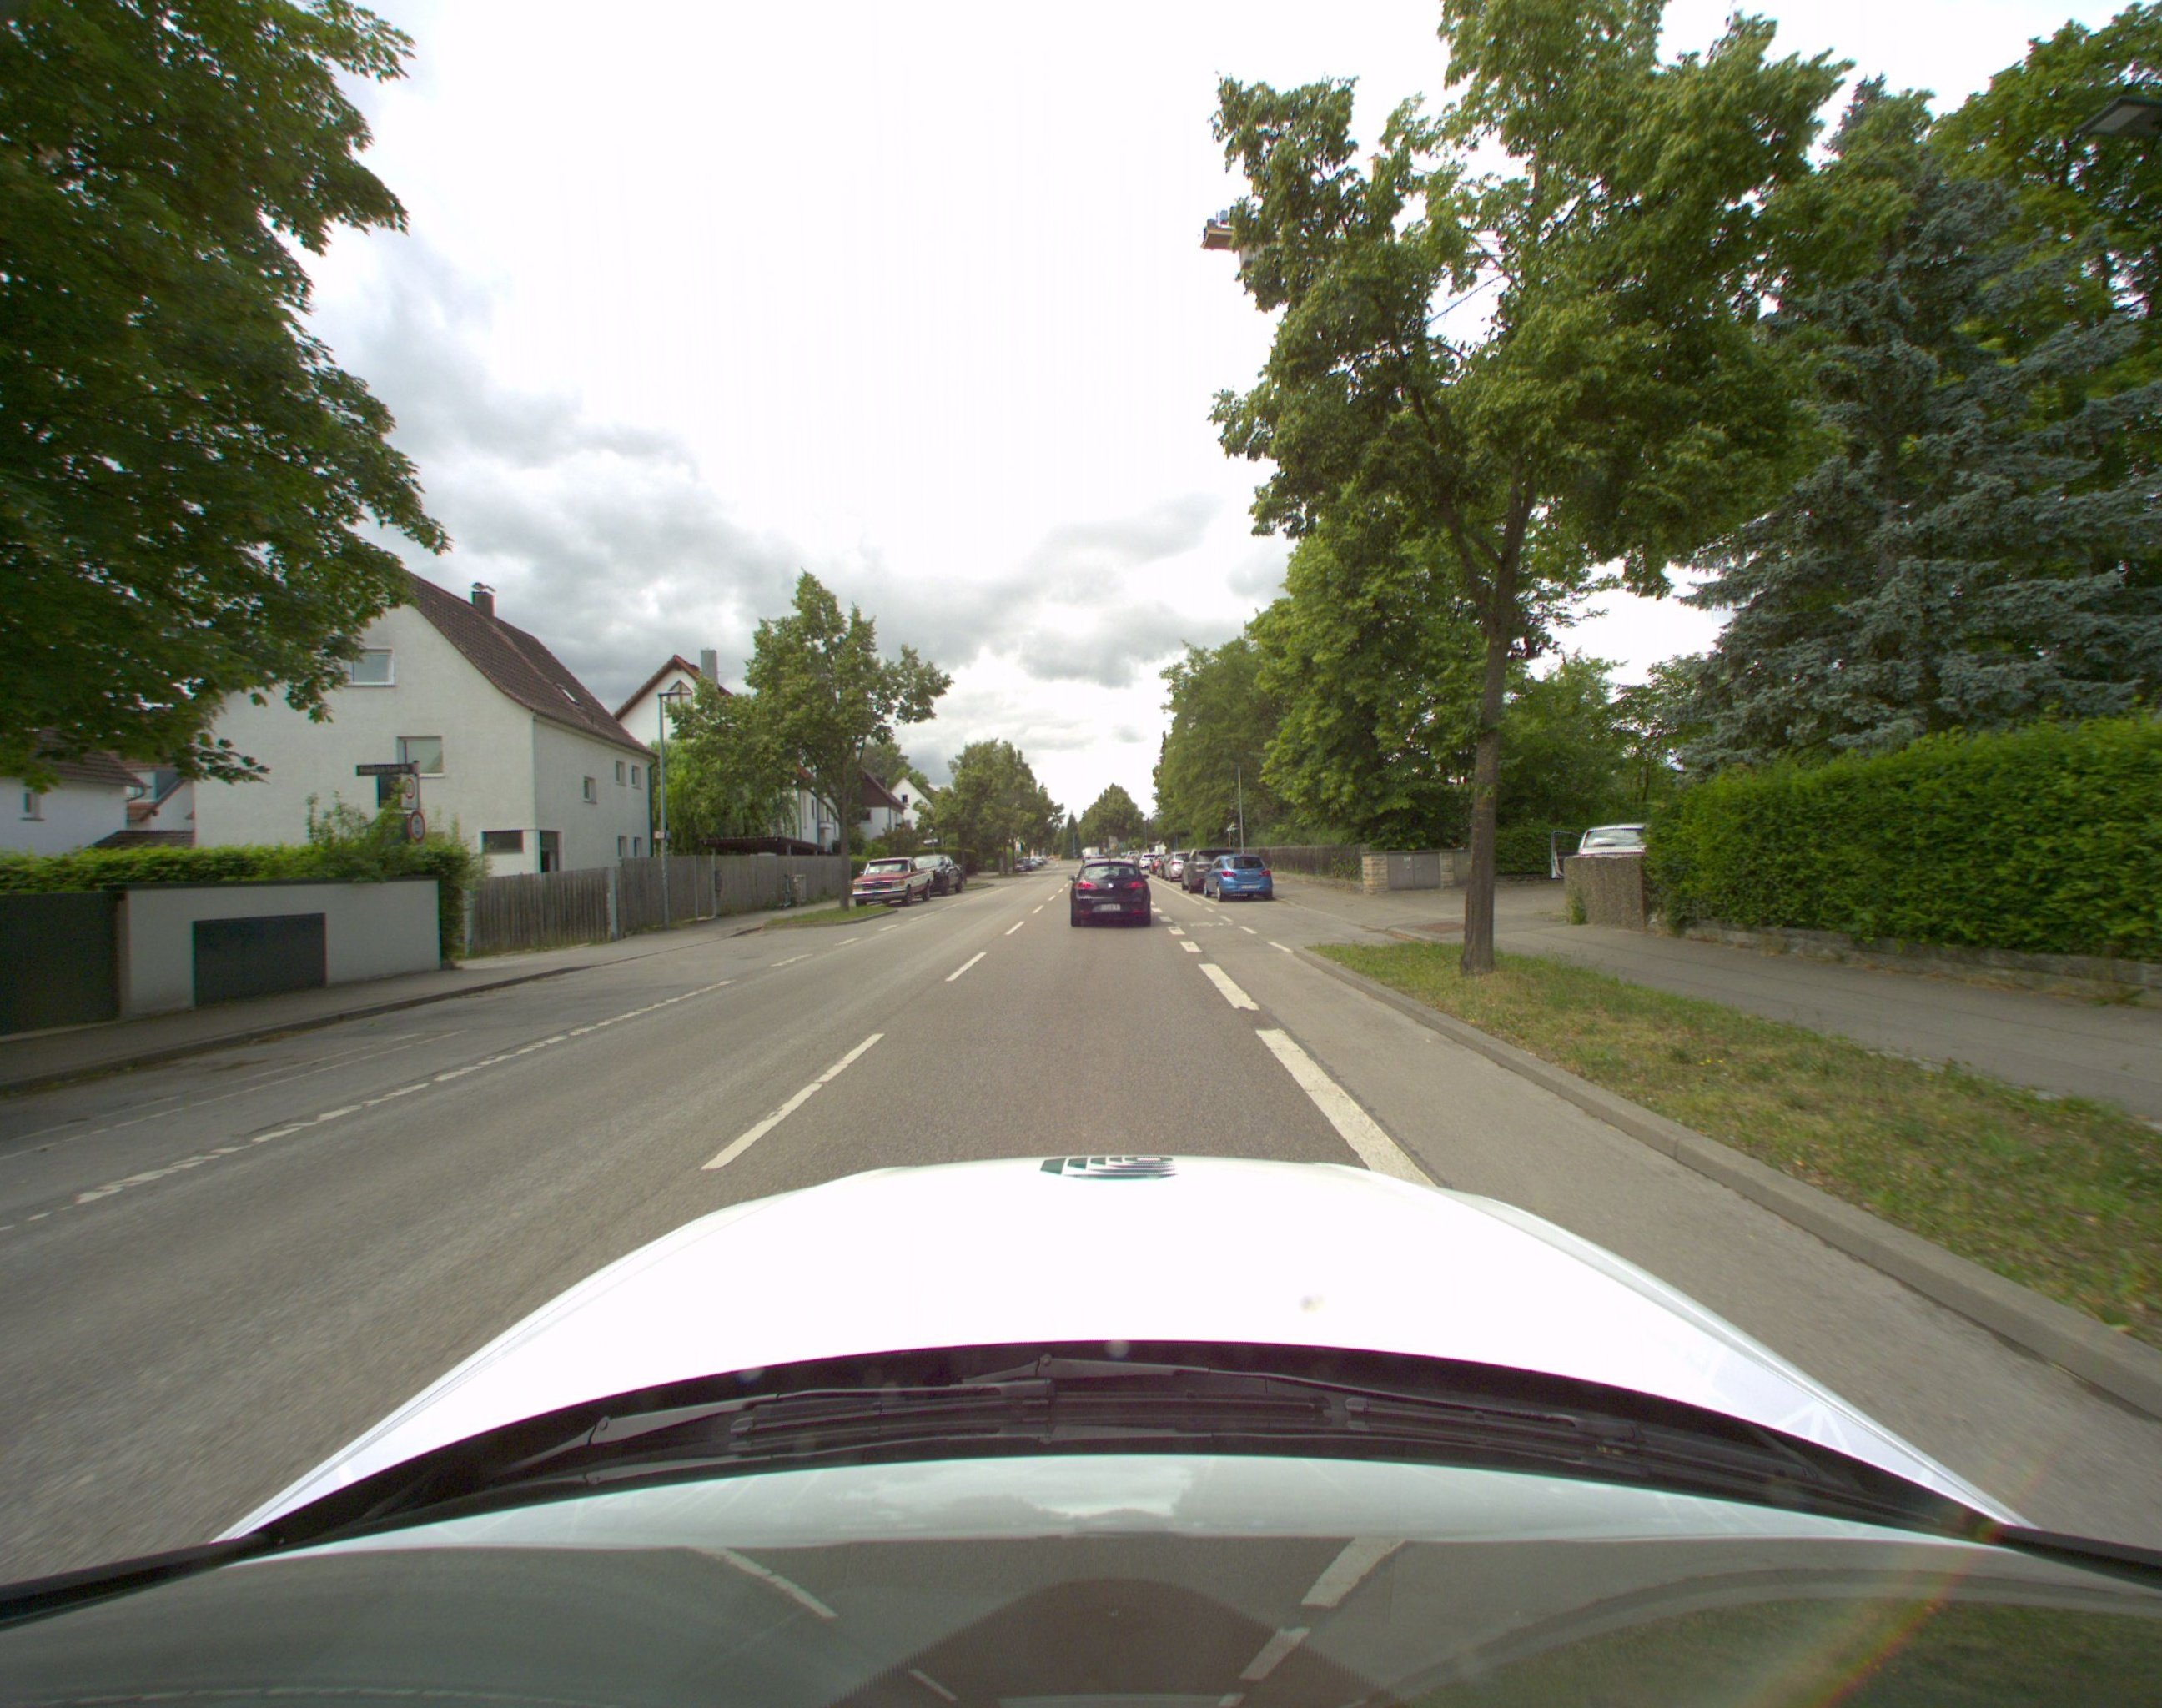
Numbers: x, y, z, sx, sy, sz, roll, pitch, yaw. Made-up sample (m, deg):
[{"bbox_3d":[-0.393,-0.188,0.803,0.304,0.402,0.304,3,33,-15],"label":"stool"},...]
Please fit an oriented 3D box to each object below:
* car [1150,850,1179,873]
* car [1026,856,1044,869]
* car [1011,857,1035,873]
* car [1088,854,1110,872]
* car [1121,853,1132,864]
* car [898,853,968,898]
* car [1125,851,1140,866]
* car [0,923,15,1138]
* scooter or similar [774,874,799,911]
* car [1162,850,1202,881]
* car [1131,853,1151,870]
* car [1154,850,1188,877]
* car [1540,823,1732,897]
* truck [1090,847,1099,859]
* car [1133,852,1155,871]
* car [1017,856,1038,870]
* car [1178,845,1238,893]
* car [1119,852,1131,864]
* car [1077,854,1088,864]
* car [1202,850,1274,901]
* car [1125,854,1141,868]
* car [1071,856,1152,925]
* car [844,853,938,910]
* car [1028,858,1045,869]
[{"bbox_3d":[6.041,0.555,59.220,1.682,1.564,4.214,-2,0,1],"label":"car"},{"bbox_3d":[-6.291,1.141,111.999,2.093,1.506,5.784,-4,0,1],"label":"car"},{"bbox_3d":[-6.291,1.149,89.306,2.093,1.506,5.784,-4,0,1],"label":"car"},{"bbox_3d":[1.582,0.804,71.149,1.839,1.510,3.813,-1,0,1],"label":"car"},{"bbox_3d":[7.987,0.728,142.526,1.682,1.875,4.214,-2,0,1],"label":"car"},{"bbox_3d":[-7.060,0.972,39.528,2.093,1.896,5.784,-4,0,1],"label":"car"},{"bbox_3d":[6.712,0.557,105.903,1.682,1.875,4.214,-2,0,1],"label":"car"},{"bbox_3d":[-7.989,1.213,2.989,1.712,1.395,4.801,-4,0,1],"label":"car"},{"bbox_3d":[-10.344,1.329,28.654,0.386,1.230,1.497,-2,0,-3],"label":"scooter or similar"},{"bbox_3d":[5.429,0.596,44.226,1.682,1.564,4.214,-2,0,1],"label":"car"},{"bbox_3d":[5.867,0.718,80.580,1.682,1.564,4.214,-2,0,1],"label":"car"},{"bbox_3d":[5.532,0.559,50.446,1.682,1.564,4.214,-2,0,1],"label":"car"},{"bbox_3d":[13.222,0.114,19.430,3.964,1.603,1.739,-1,0,-19],"label":"car"},{"bbox_3d":[3.526,-0.229,212.699,2.271,3.104,8.509,0,-1,0],"label":"truck"},{"bbox_3d":[5.779,0.678,74.939,1.682,1.564,4.214,-2,0,1],"label":"car"},{"bbox_3d":[-6.658,1.081,102.023,2.093,1.506,5.784,-4,0,1],"label":"car"},{"bbox_3d":[4.871,0.545,31.674,1.682,1.711,4.214,-2,0,1],"label":"car"},{"bbox_3d":[7.101,0.678,130.720,1.682,1.875,4.214,-2,0,1],"label":"car"},{"bbox_3d":[0.282,0.845,149.549,1.875,1.689,4.214,-2,0,1],"label":"car"},{"bbox_3d":[5.049,0.652,26.560,1.682,1.490,3.355,-2,0,1],"label":"car"},{"bbox_3d":[6.289,0.862,99.157,1.682,1.564,4.214,-2,0,1],"label":"car"},{"bbox_3d":[0.617,0.768,18.687,1.658,1.401,3.810,-1,0,-1],"label":"car"},{"bbox_3d":[-7.273,0.975,31.898,2.093,1.896,5.784,-4,0,1],"label":"car"},{"bbox_3d":[-6.600,1.422,121.837,2.093,1.506,5.784,-4,0,1],"label":"car"}]
